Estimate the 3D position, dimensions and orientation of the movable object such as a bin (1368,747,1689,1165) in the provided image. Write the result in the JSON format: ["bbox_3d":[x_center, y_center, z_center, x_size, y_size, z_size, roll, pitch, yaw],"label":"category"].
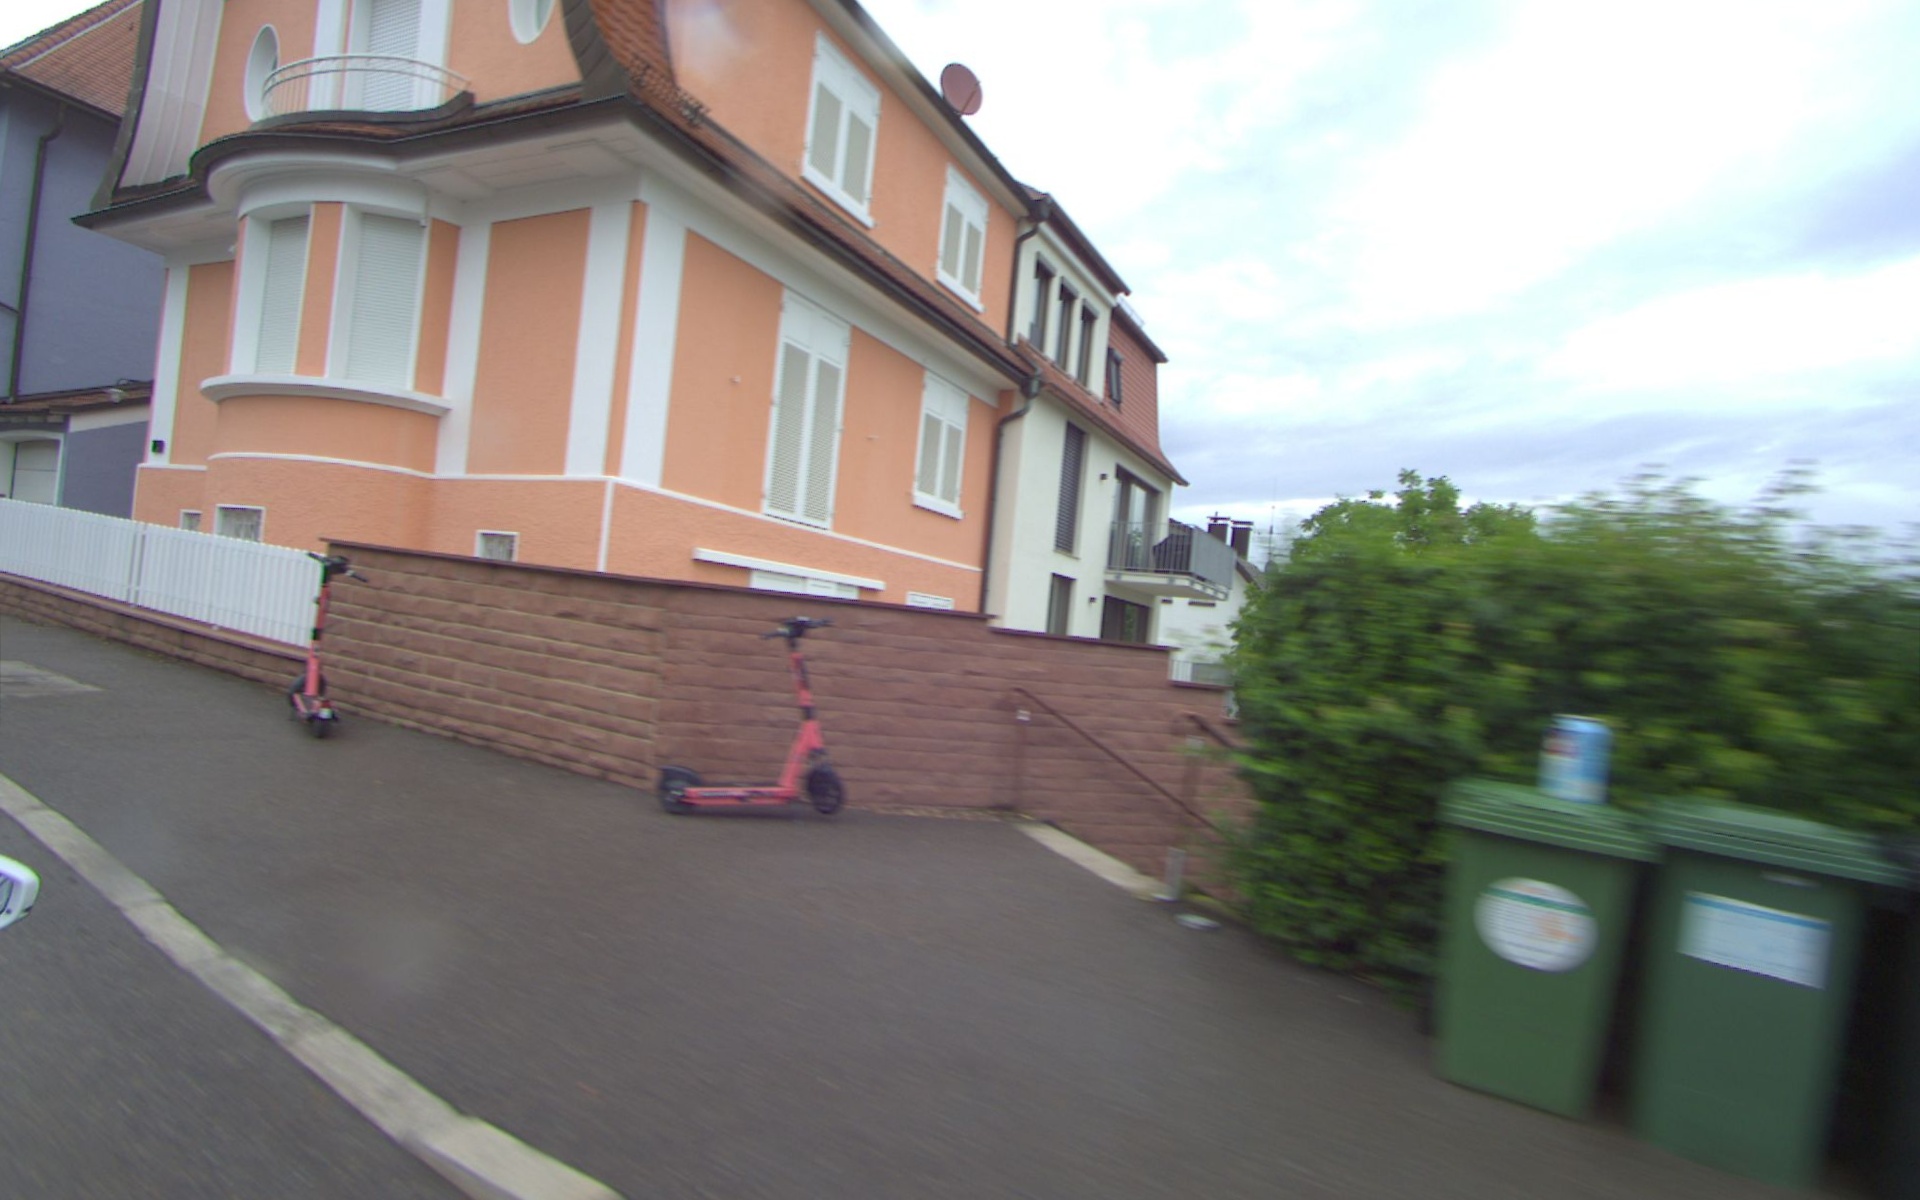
[{"bbox_3d":[1.885,1.114,3.422,0.744,1.043,0.712,8,2,27],"label":"movable object such as a bin"}]

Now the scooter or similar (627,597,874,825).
[{"bbox_3d":[-1.290,0.672,6.189,1.247,1.240,0.690,5,1,-29],"label":"scooter or similar"}]

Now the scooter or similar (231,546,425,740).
[{"bbox_3d":[-4.721,0.309,7.500,1.279,1.239,0.693,8,0,37],"label":"scooter or similar"}]
